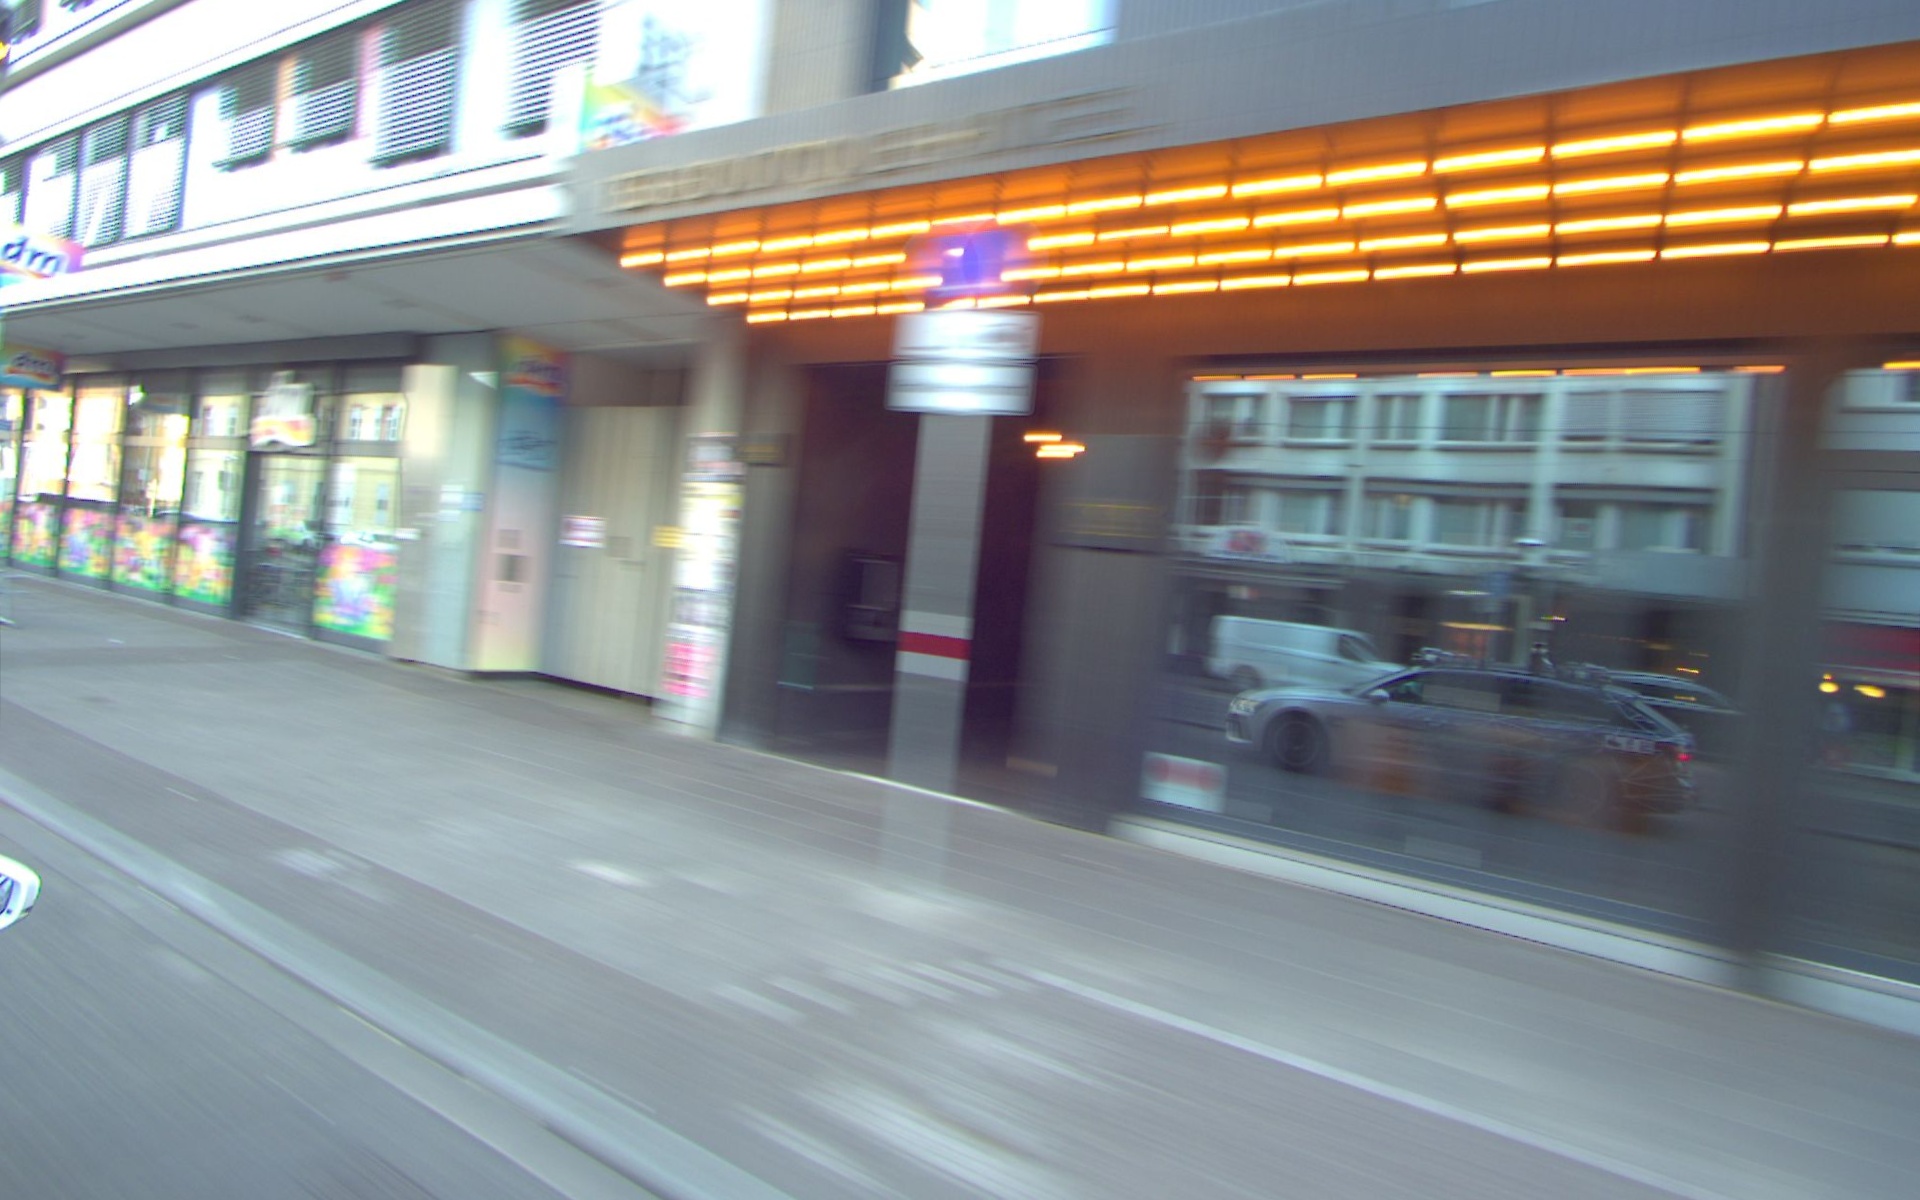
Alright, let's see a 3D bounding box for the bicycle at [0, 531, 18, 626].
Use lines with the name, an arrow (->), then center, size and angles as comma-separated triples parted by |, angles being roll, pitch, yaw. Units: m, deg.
bicycle -> -10.770, -0.265, 10.107 | 0.566, 0.985, 1.796 | 7, 2, 28
